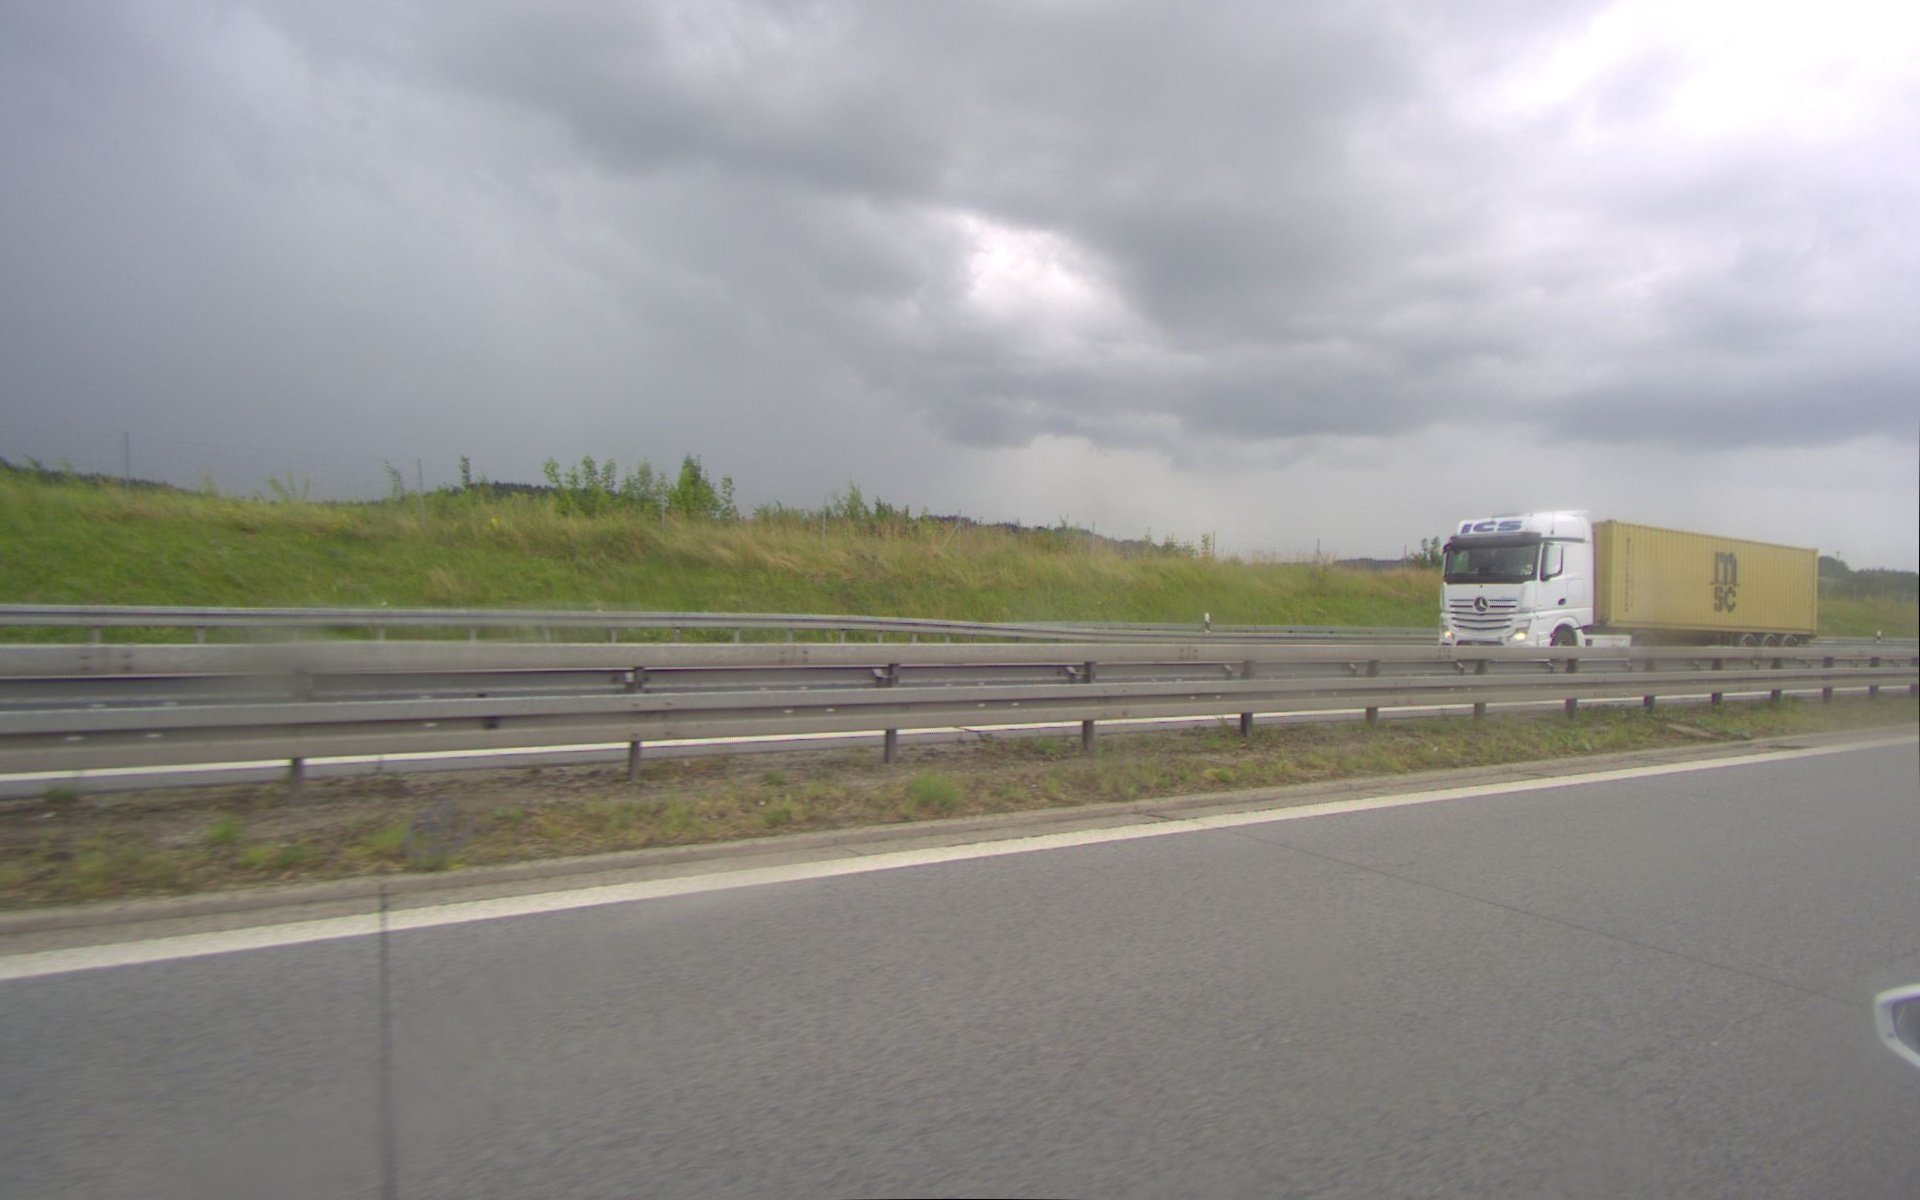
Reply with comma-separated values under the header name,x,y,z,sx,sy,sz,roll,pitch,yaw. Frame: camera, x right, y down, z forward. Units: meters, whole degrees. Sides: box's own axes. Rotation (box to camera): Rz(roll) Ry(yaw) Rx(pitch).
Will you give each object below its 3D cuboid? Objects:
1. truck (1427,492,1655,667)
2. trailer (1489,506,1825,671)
name,x,y,z,sx,sy,sz,roll,pitch,yaw
truck,14.707,-0.416,25.354,5.524,3.978,2.579,1,0,-31
trailer,20.384,-0.131,28.809,13.545,3.978,2.576,1,0,-31
